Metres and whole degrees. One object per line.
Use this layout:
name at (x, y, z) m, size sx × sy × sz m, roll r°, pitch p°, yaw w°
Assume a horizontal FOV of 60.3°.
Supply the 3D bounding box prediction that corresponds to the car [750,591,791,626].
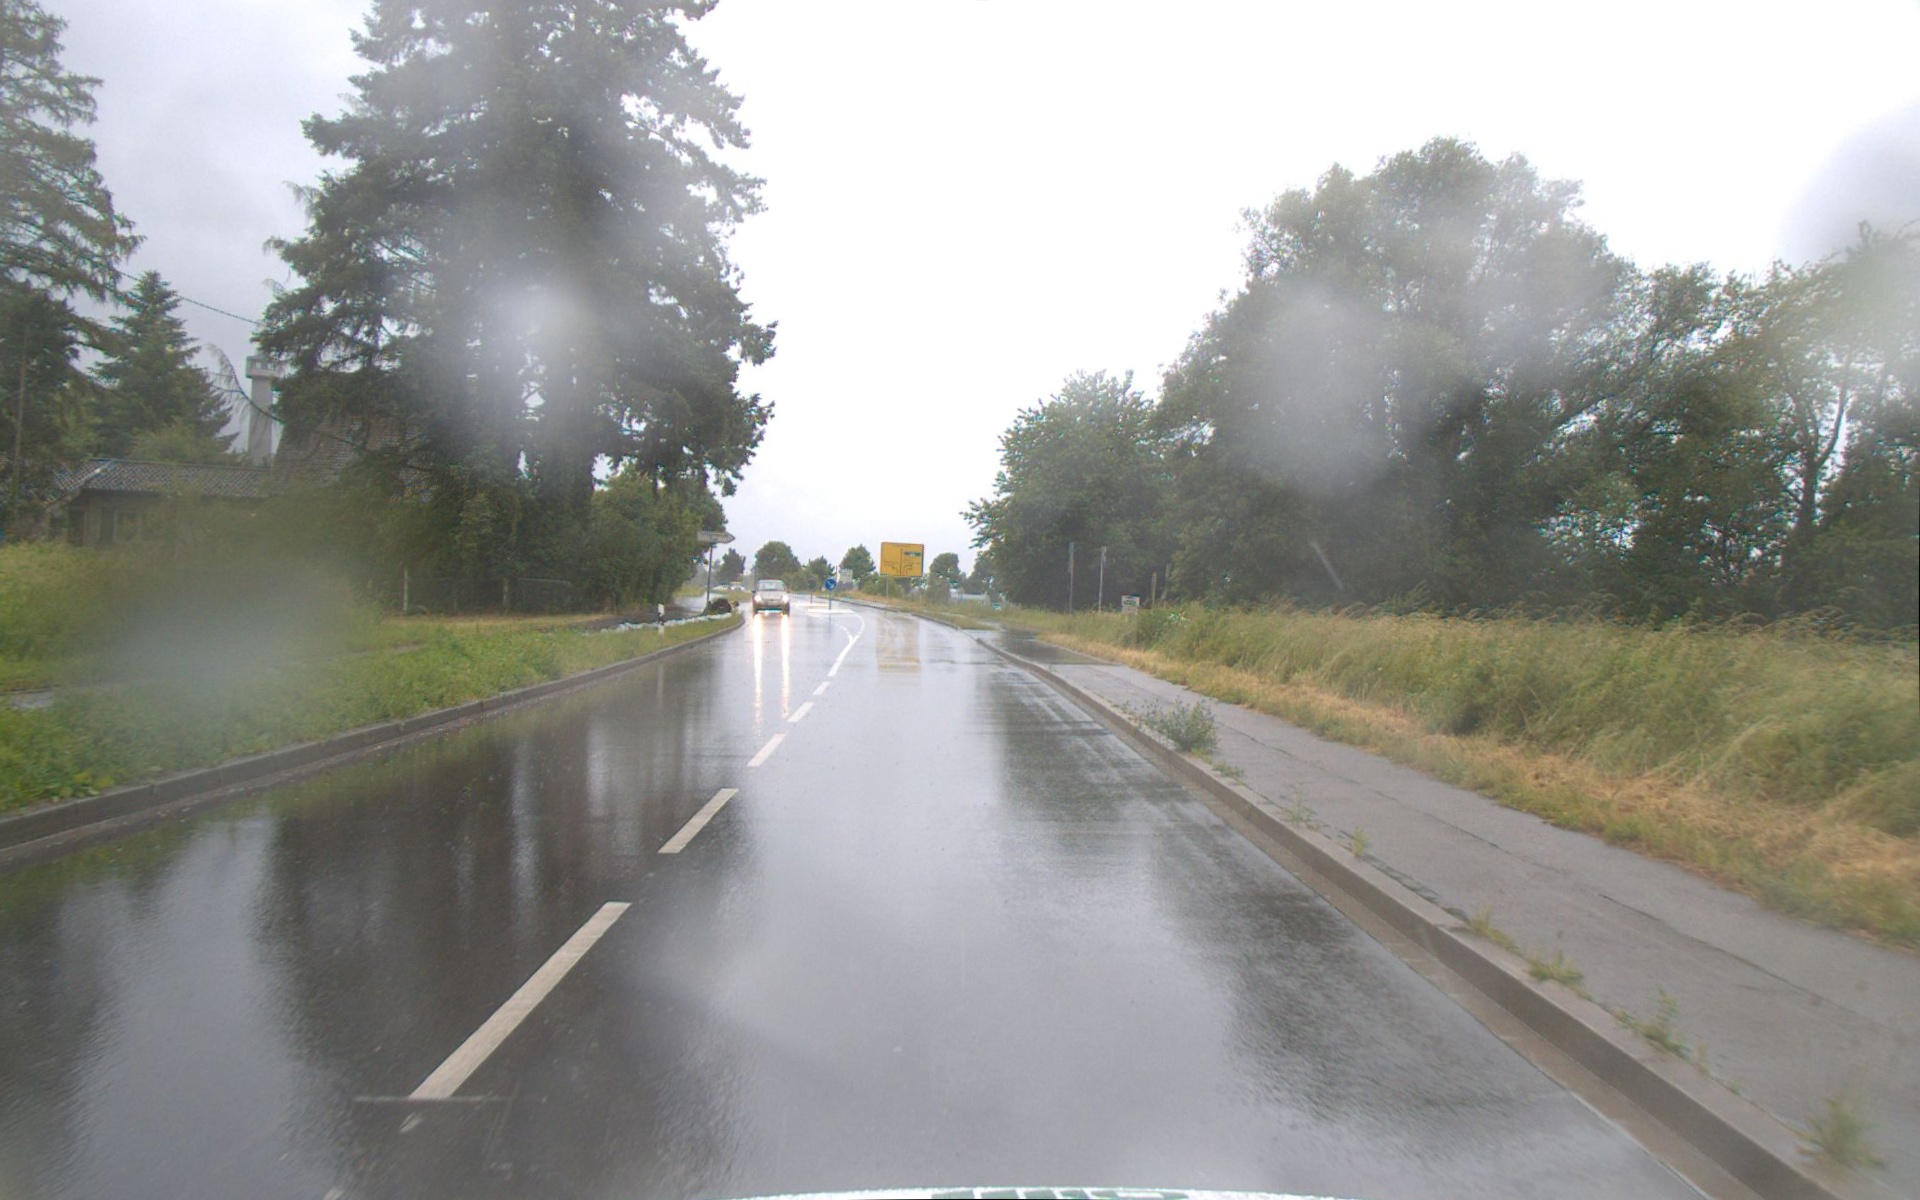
car at (-9.334, 0.435, 81.281) m, size 1.728 × 1.579 × 3.991 m, roll 3°, pitch -2°, yaw -9°
